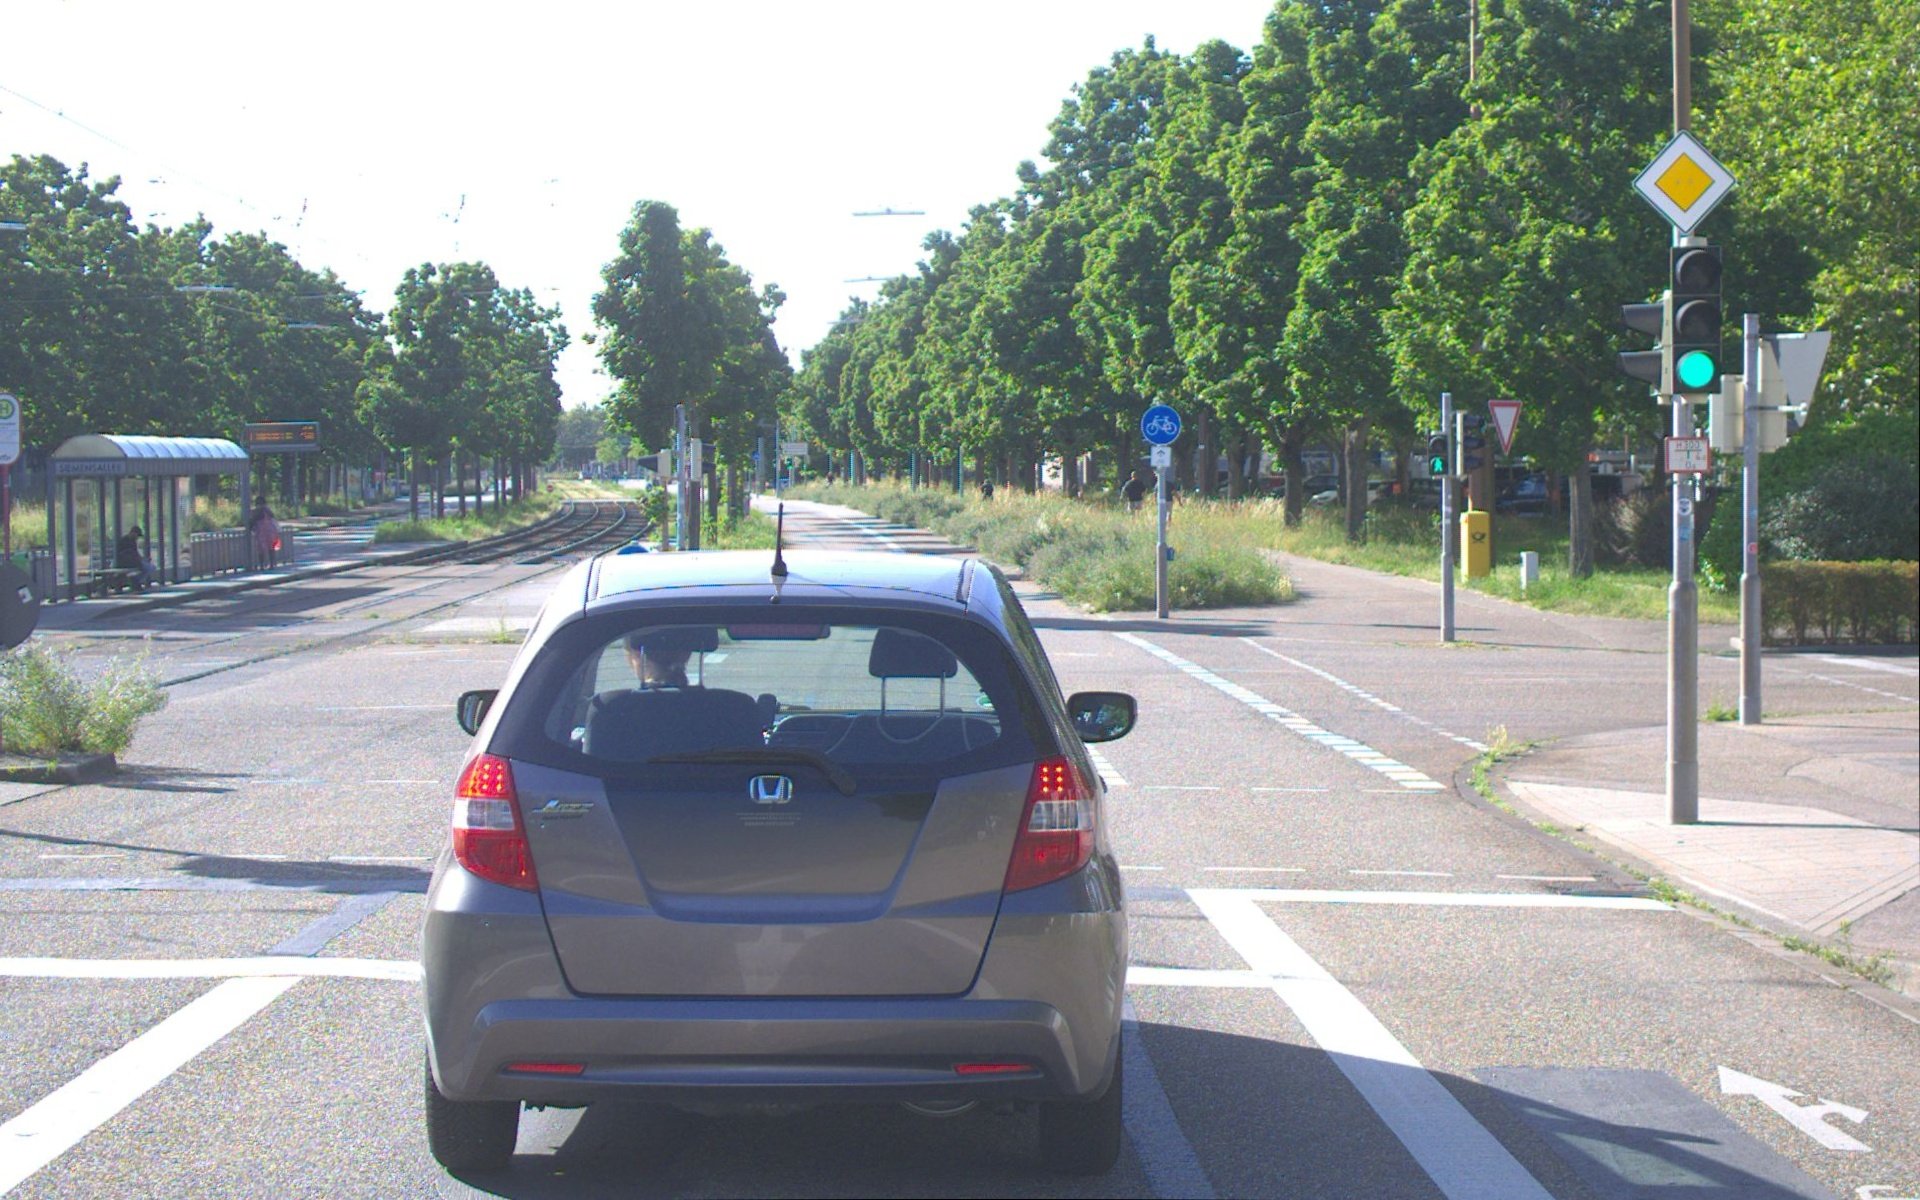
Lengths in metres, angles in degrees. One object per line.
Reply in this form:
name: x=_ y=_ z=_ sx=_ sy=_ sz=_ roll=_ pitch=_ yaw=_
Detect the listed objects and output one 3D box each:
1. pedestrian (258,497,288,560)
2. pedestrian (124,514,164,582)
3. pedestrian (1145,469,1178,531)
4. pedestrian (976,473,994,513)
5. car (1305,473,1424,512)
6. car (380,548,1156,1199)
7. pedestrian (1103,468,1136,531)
pedestrian: x=-15.993 y=-1.668 z=80.039 sx=0.544 sy=1.442 sz=0.559 roll=-1 pitch=1 yaw=-1
pedestrian: x=-15.542 y=-0.993 z=65.485 sx=0.563 sy=1.252 sz=0.581 roll=-3 pitch=1 yaw=-1
pedestrian: x=6.150 y=-3.060 z=104.900 sx=0.882 sy=1.877 sz=0.875 roll=-1 pitch=2 yaw=-4
pedestrian: x=1.070 y=-4.552 z=146.201 sx=0.725 sy=1.685 sz=0.821 roll=0 pitch=1 yaw=-3
car: x=16.976 y=-4.523 z=144.469 sx=4.630 sy=1.550 sz=2.001 roll=-1 pitch=2 yaw=-6
car: x=-0.445 y=0.624 z=9.430 sx=1.701 sy=1.518 sz=3.710 roll=0 pitch=1 yaw=-1
pedestrian: x=4.862 y=-3.069 z=104.859 sx=0.882 sy=1.877 sz=0.875 roll=-1 pitch=2 yaw=-4
